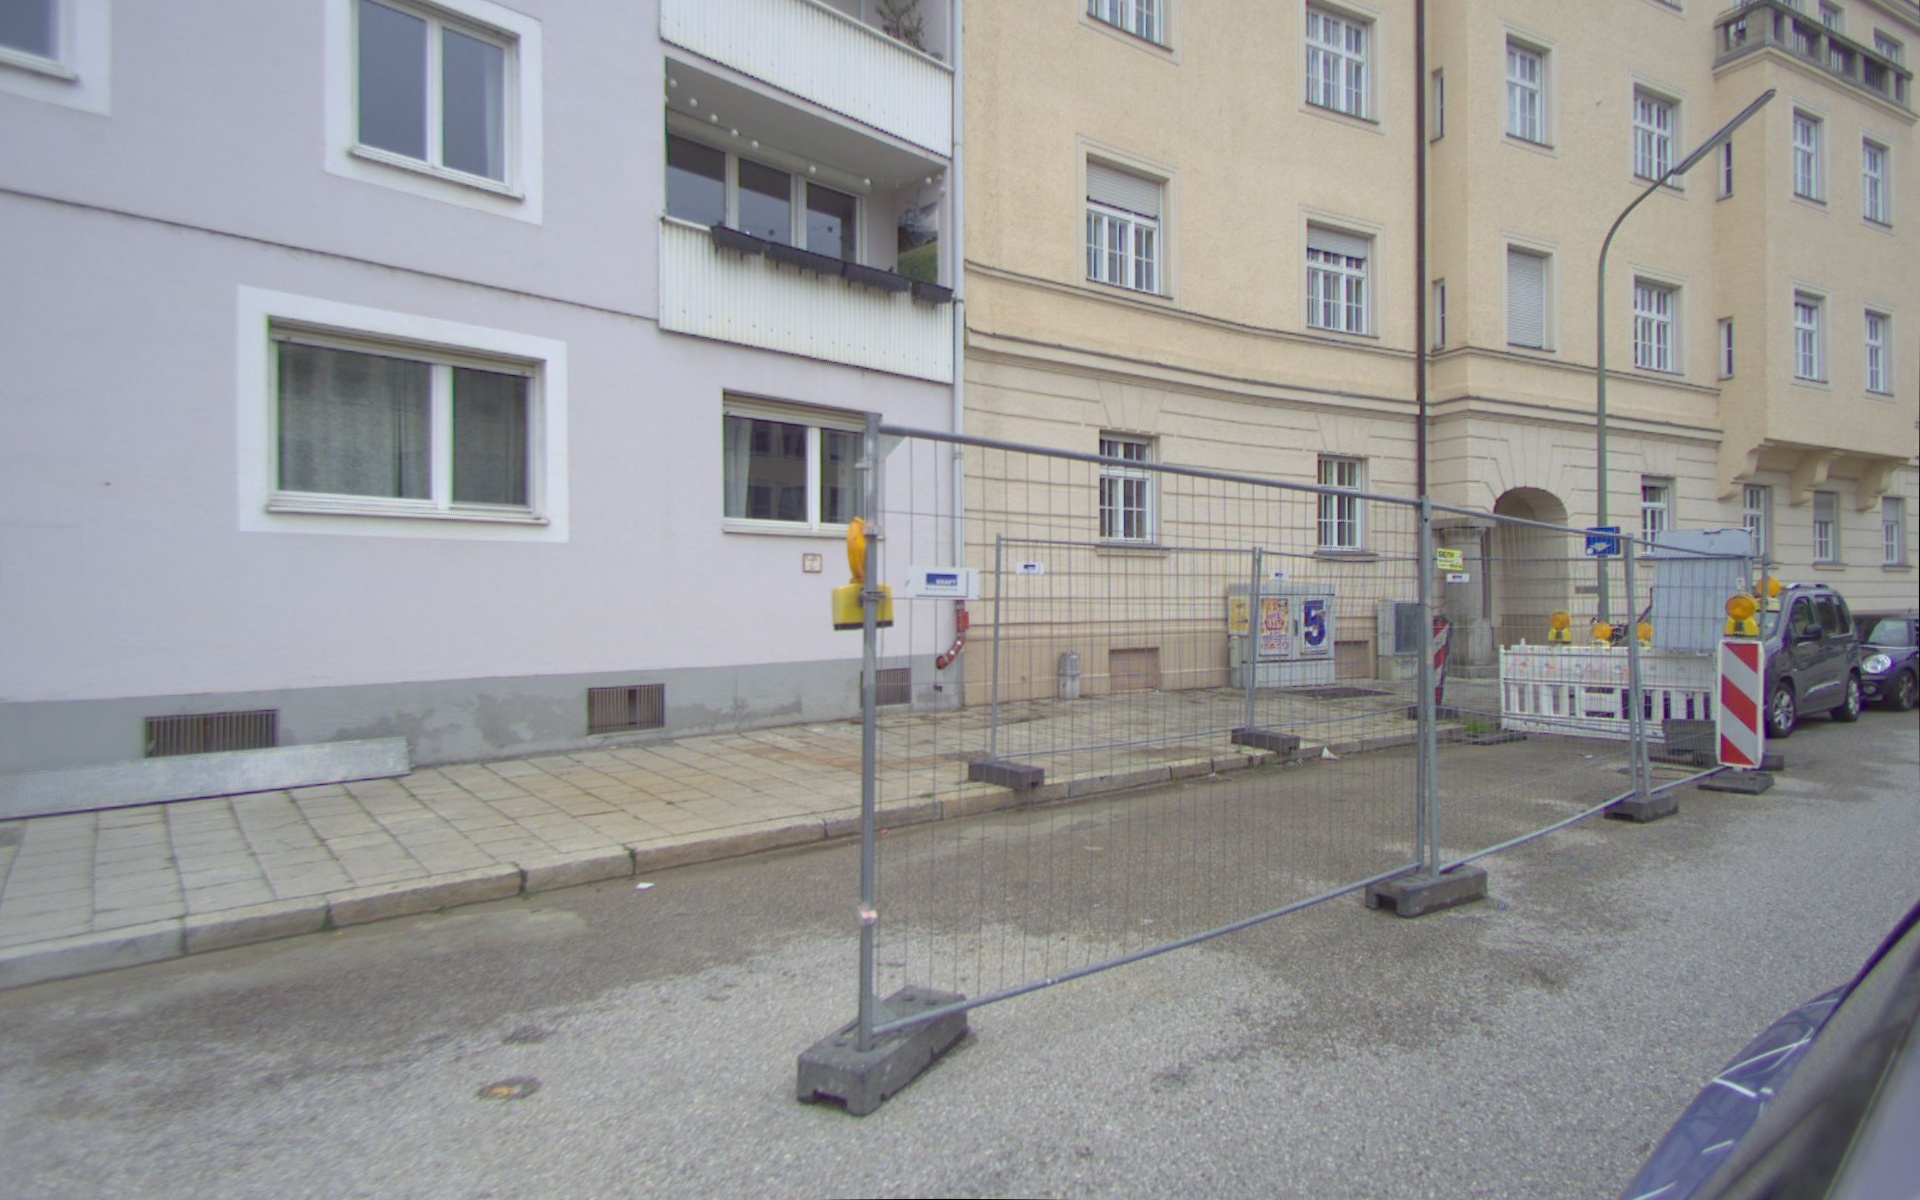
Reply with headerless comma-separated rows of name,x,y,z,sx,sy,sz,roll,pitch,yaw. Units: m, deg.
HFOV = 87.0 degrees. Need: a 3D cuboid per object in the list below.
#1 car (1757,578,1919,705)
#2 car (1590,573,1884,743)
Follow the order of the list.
car,14.392,0.575,15.628,3.654,1.752,1.844,-1,-2,-27
car,9.930,0.638,12.840,4.159,1.822,1.841,0,-2,-37
